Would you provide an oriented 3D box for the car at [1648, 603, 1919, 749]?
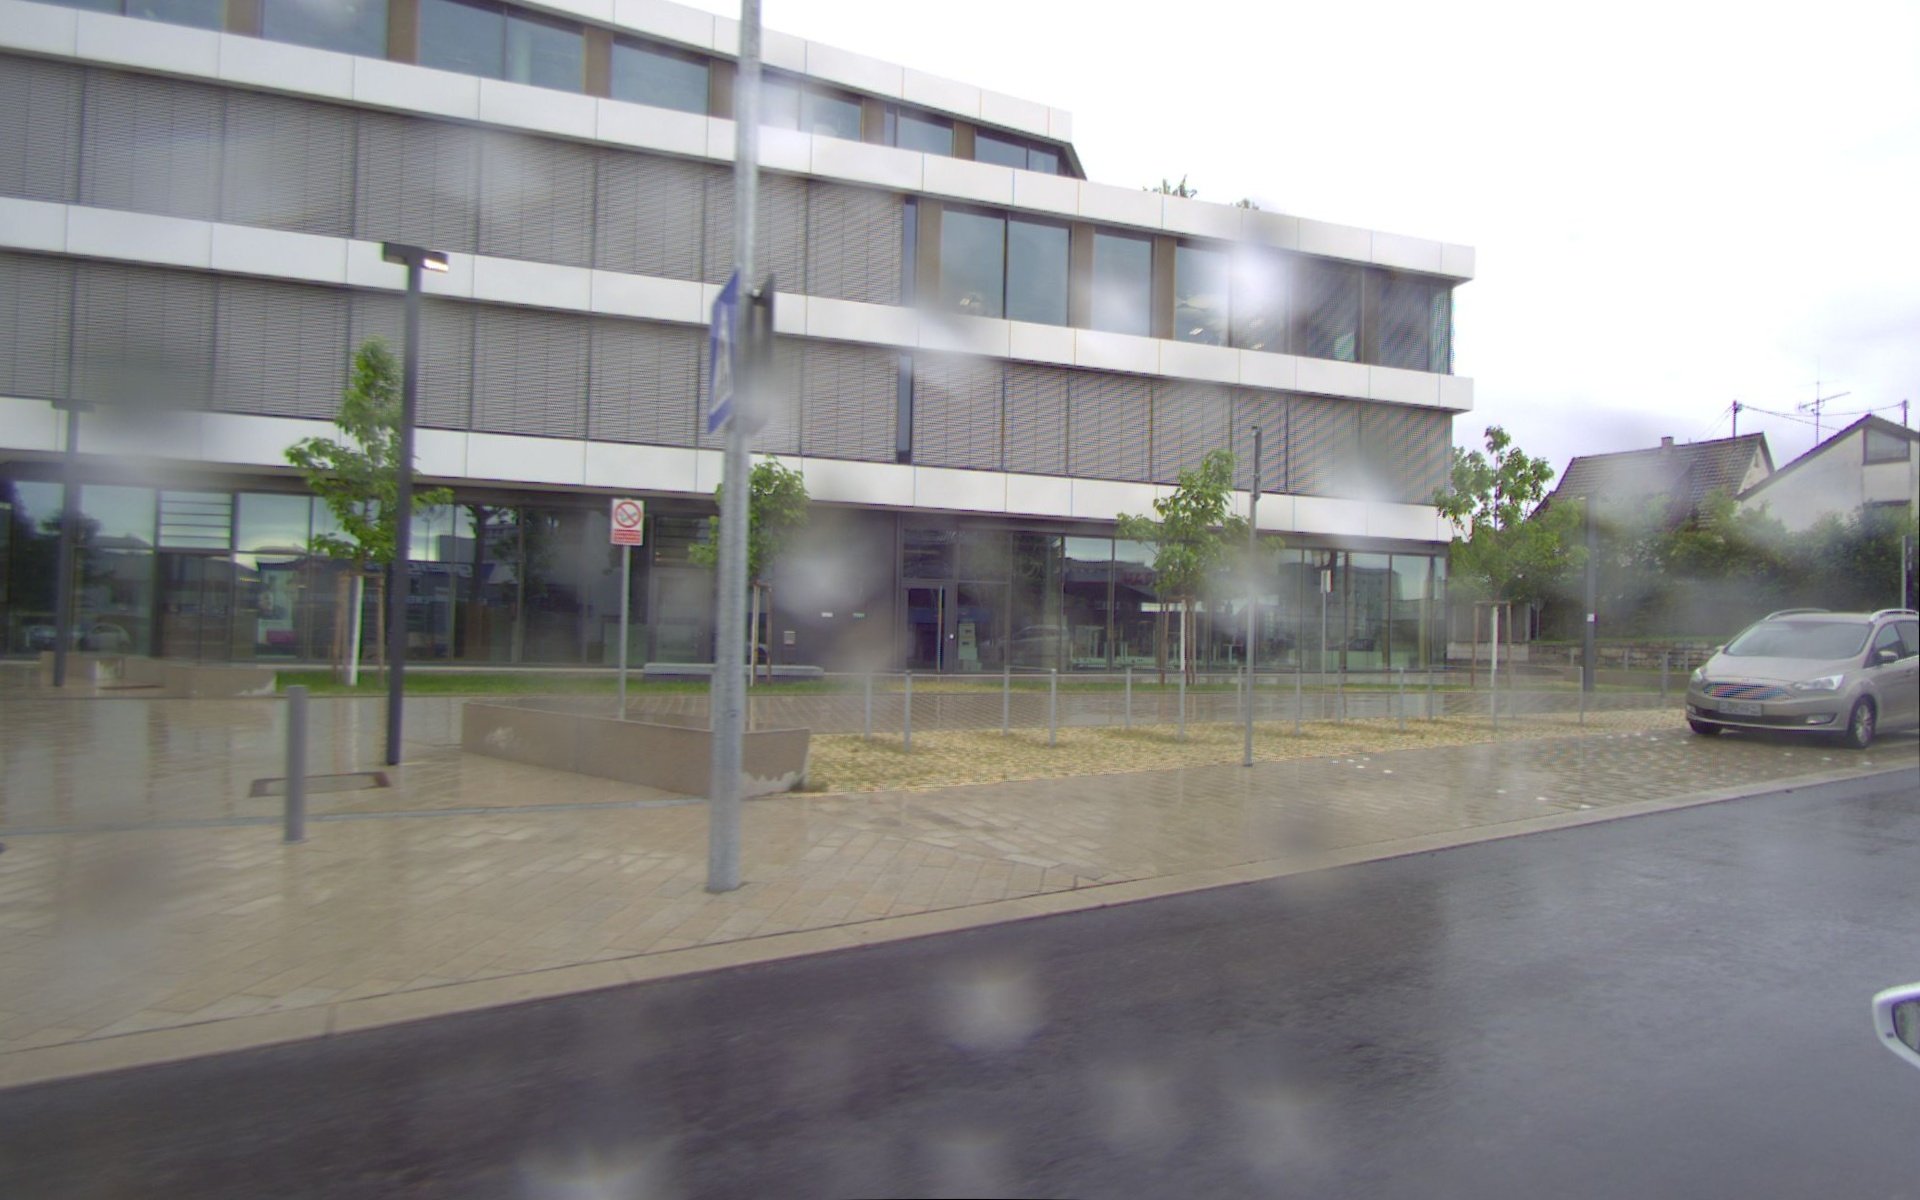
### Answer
[{"bbox_3d":[11.245,0.926,13.312,4.105,1.650,1.984,1,-2,-30],"label":"car"}]
